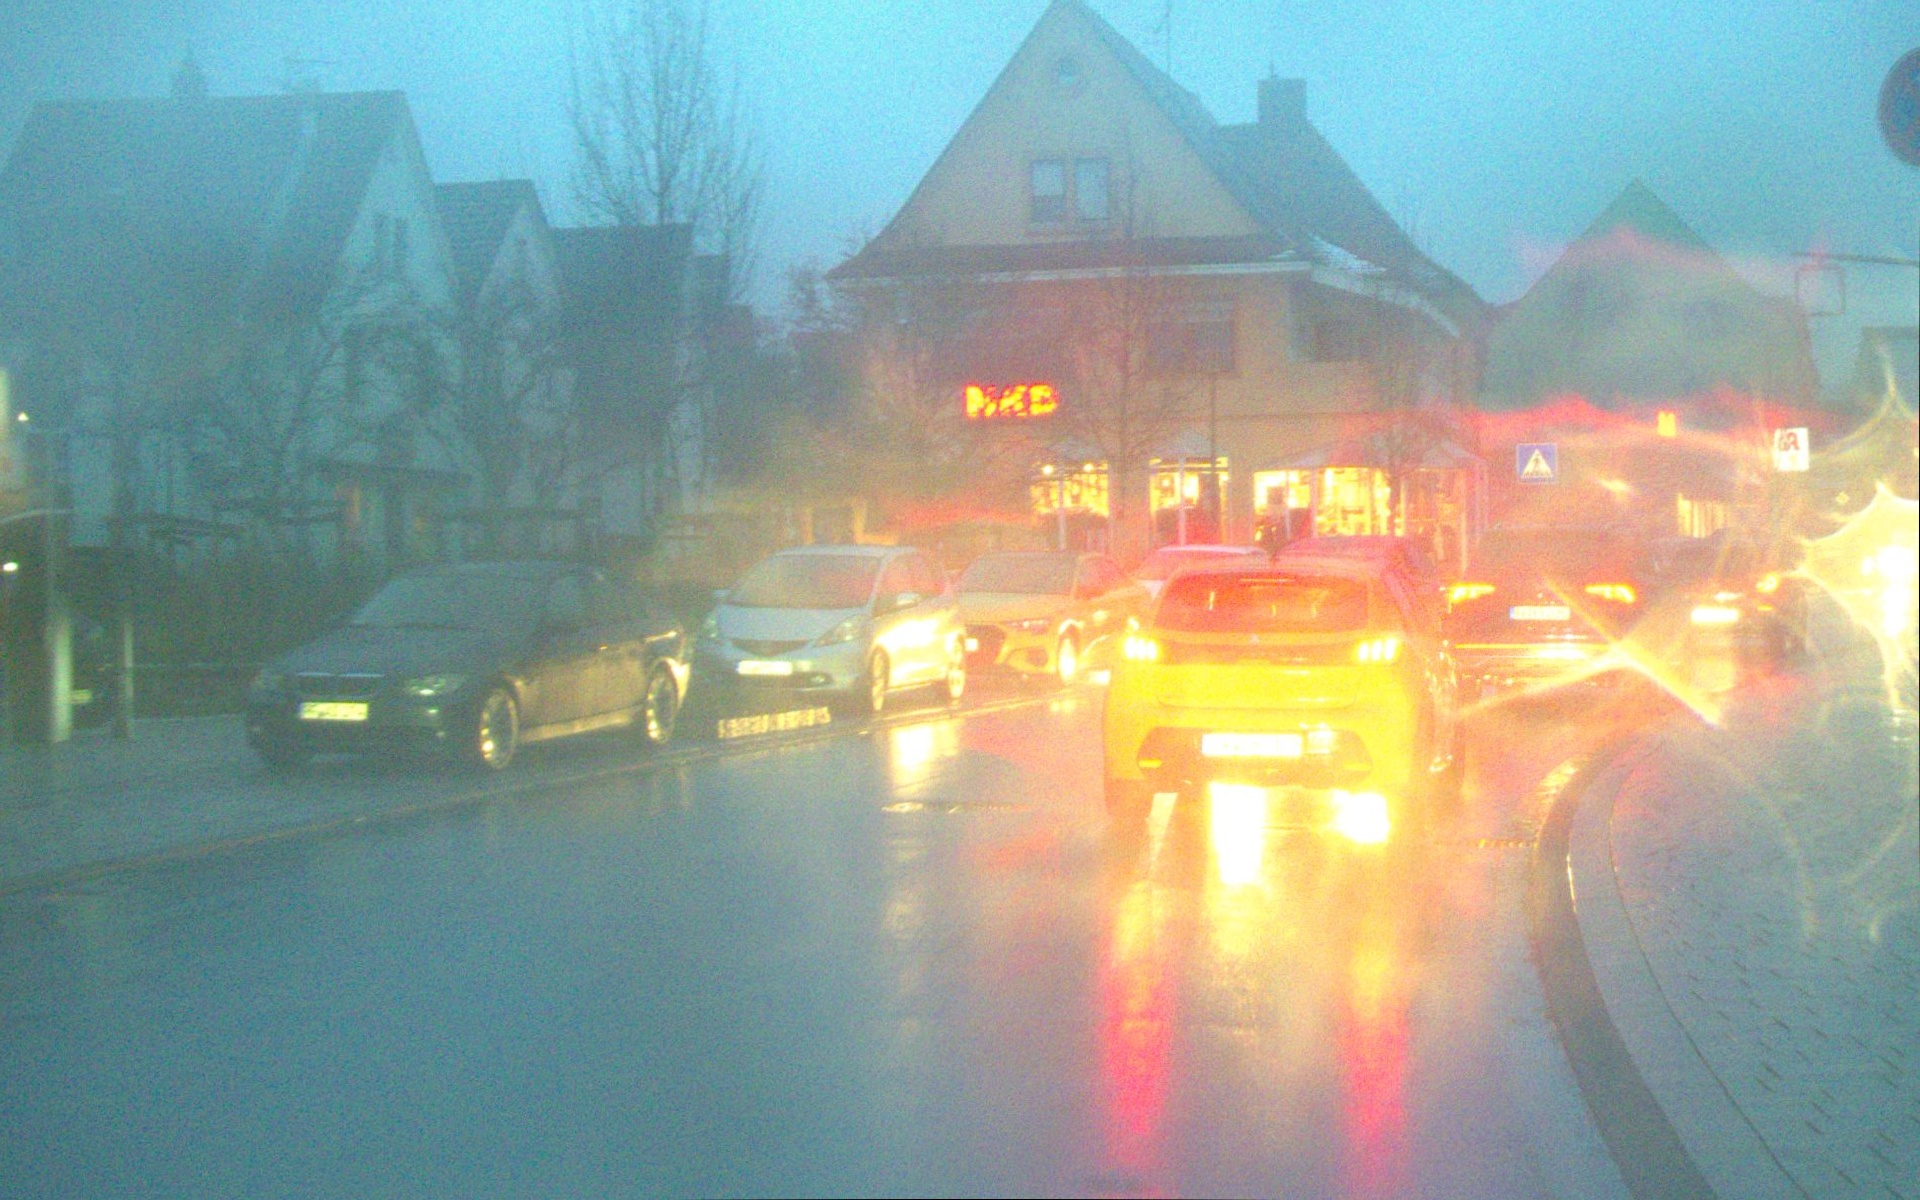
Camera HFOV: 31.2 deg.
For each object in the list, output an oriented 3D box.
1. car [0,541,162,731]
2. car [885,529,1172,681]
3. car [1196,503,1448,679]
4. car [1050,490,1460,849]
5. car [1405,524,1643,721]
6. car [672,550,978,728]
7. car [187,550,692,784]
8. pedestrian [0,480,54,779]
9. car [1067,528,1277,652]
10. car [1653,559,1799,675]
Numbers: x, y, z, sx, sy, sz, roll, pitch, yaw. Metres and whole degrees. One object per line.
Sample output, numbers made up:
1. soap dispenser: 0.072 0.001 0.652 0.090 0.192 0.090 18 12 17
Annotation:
1. car: -8.656 0.309 28.940 4.085 1.472 1.735 -1 1 43
2. car: 0.817 0.018 37.307 1.750 1.511 4.337 2 1 21
3. car: 4.146 -0.147 38.644 2.142 1.854 4.739 0 1 15
4. car: 1.807 0.298 19.583 1.994 1.789 4.647 -1 1 9
5. car: 5.185 0.163 31.244 1.799 1.656 3.997 1 1 14
6. car: -1.185 0.312 31.902 1.693 1.511 3.770 1 1 17
7. car: -3.564 0.395 24.427 1.748 1.467 4.455 1 1 18
8. pedestrian: -6.324 0.186 21.569 0.754 1.860 1.060 0 1 20
9. car: 2.829 -0.156 45.048 1.671 1.511 3.996 2 1 20
10. car: 10.058 0.196 45.007 1.650 1.437 3.864 -1 0 16
